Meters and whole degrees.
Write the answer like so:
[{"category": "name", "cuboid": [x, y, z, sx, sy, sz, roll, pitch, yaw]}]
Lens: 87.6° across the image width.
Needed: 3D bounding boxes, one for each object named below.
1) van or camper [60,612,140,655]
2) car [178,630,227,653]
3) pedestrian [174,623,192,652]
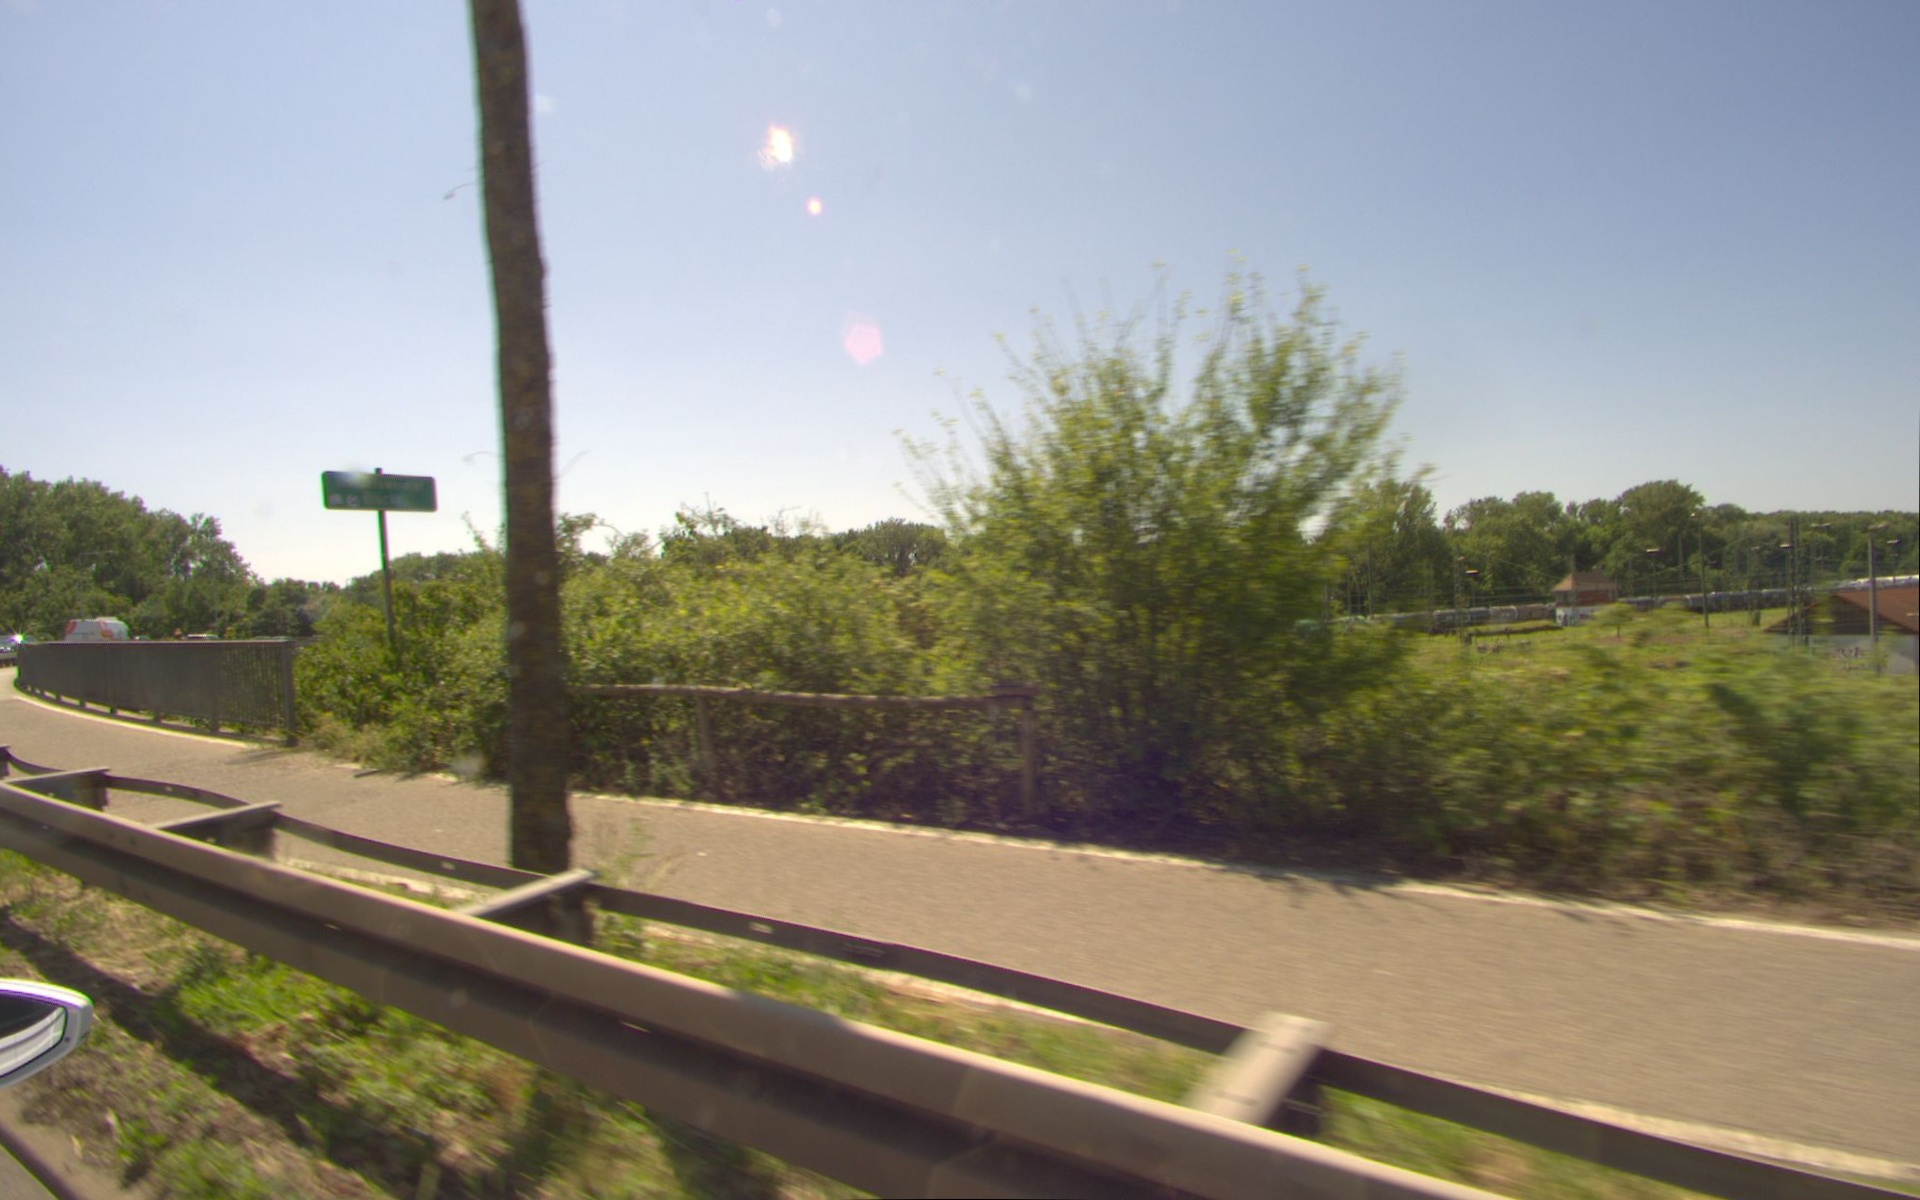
[{"category": "van or camper", "cuboid": [-57.424, 2.226, 67.009, 2.173, 2.746, 5.910, 0, -1, -21]}, {"category": "car", "cuboid": [-62.374, 3.420, 82.537, 1.860, 1.873, 3.997, 0, -3, -15]}, {"category": "pedestrian", "cuboid": [-52.755, 2.540, 67.977, 0.727, 1.992, 0.732, 0, -2, -22]}]
